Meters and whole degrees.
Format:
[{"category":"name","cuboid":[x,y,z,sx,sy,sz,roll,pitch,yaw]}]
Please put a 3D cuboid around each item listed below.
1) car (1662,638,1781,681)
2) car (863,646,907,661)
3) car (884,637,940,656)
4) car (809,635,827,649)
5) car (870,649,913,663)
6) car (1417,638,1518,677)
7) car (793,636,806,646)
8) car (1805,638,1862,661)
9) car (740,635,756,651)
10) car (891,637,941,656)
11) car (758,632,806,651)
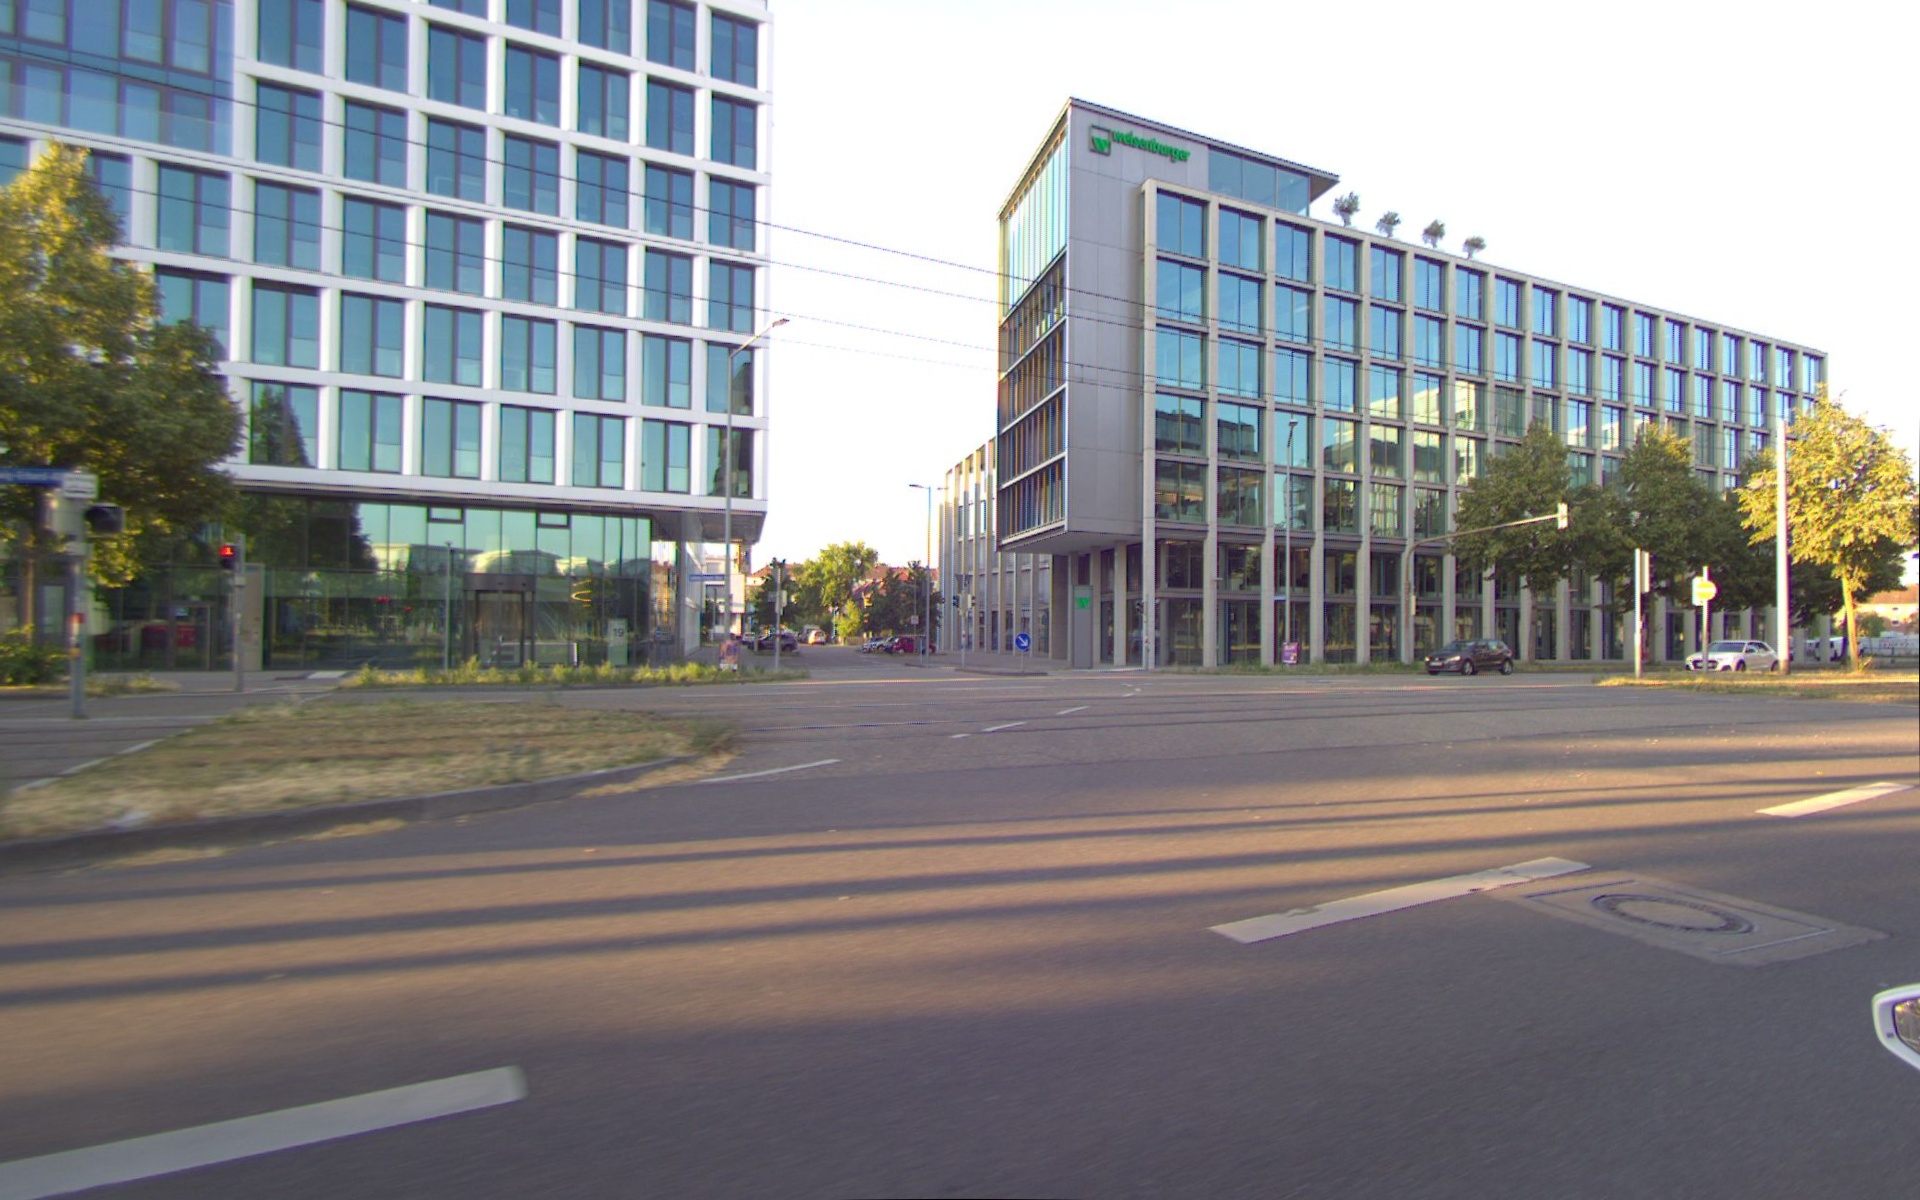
[{"category":"car","cuboid":[29.032,2.243,38.273,4.573,1.505,1.895,2,-2,-28]},{"category":"car","cuboid":[-7.083,5.080,95.044,3.935,1.404,1.421,1,-1,-17]},{"category":"car","cuboid":[-4.114,3.916,85.479,4.461,1.576,1.697,1,-2,-18]},{"category":"car","cuboid":[-18.025,5.353,127.508,1.965,1.746,3.992,1,-2,-11]},{"category":"car","cuboid":[-6.145,4.999,89.868,3.612,1.235,1.519,1,-2,-17]},{"category":"car","cuboid":[20.237,2.255,40.004,3.950,1.468,1.634,1,-2,-28]},{"category":"car","cuboid":[-26.258,6.691,163.828,1.965,1.617,3.992,1,-2,-11]},{"category":"car","cuboid":[80.250,4.544,92.277,5.017,2.040,2.199,2,-2,-26]},{"category":"car","cuboid":[-24.780,4.980,117.312,1.778,1.817,3.799,1,-2,-13]},{"category":"car","cuboid":[-3.671,3.838,83.325,3.933,1.576,1.699,1,-2,-15]},{"category":"car","cuboid":[-16.051,3.759,90.523,3.941,1.686,1.990,1,-2,-22]}]
